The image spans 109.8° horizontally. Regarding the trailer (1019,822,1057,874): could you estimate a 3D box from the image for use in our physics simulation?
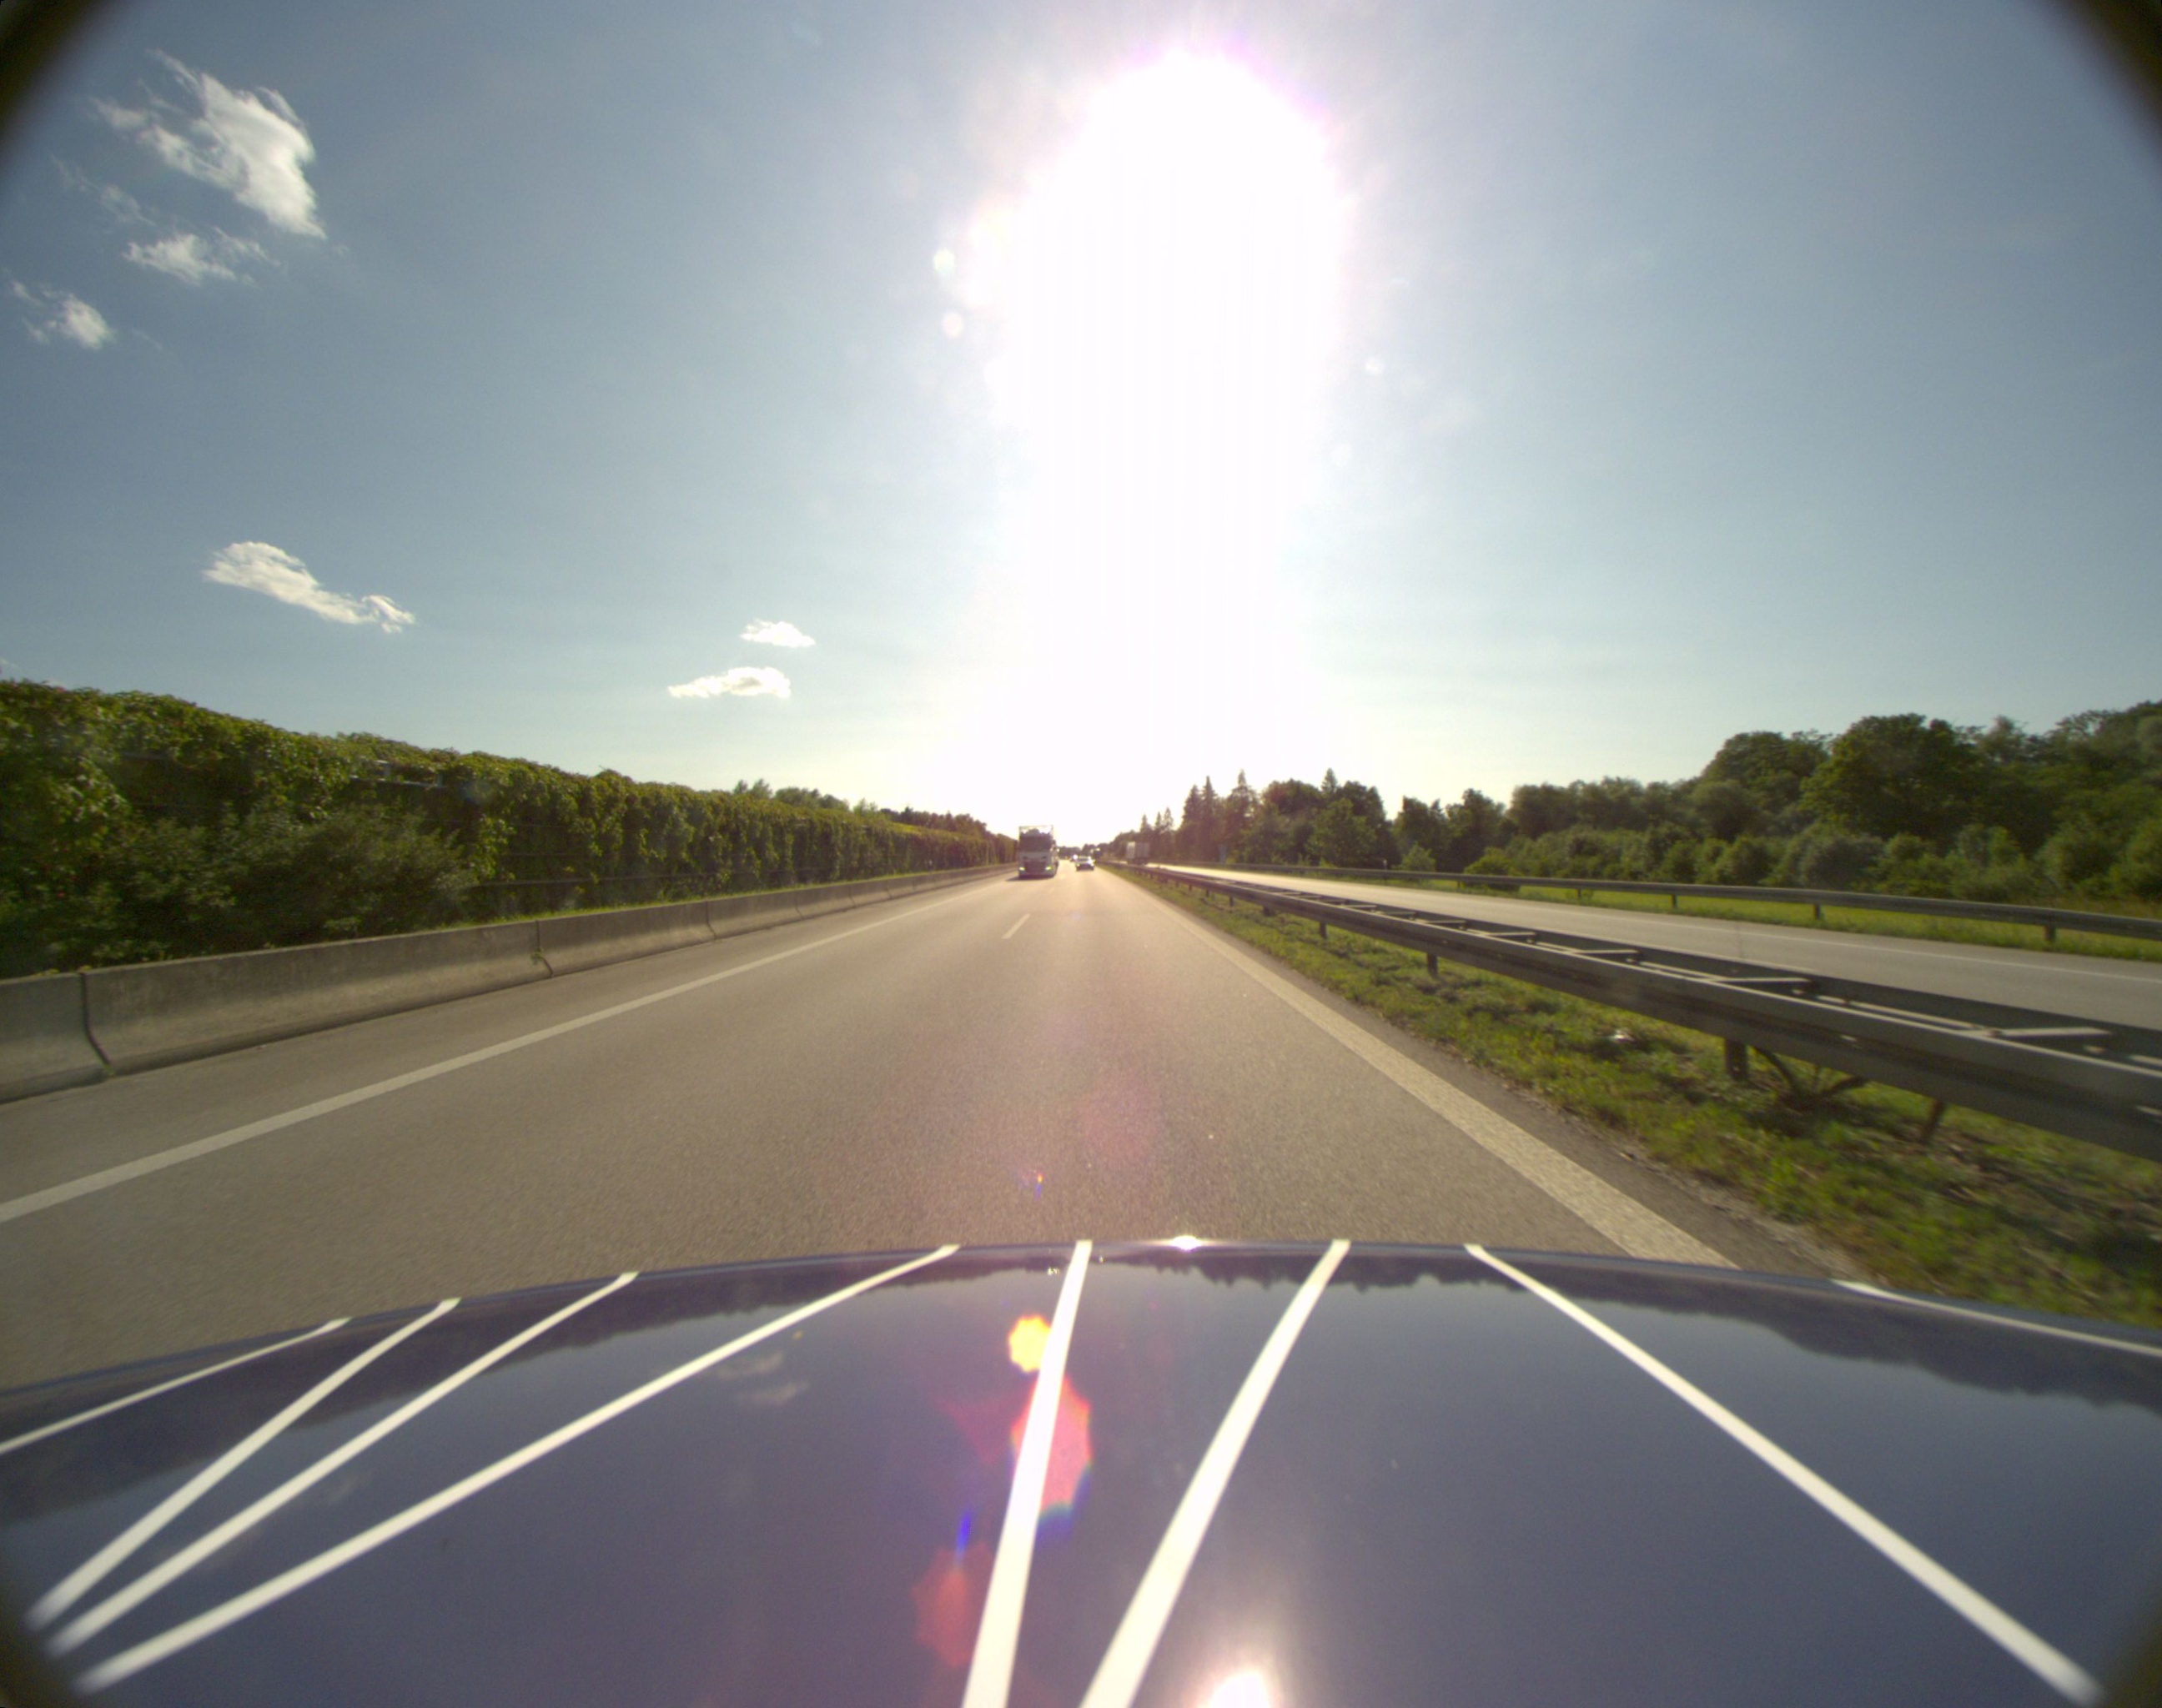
[{"bbox_3d":[-3.469,-0.453,64.962,2.826,3.943,14.157,0,0,-1],"label":"trailer"}]

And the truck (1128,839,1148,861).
[{"bbox_3d":[10.764,-0.749,143.732,3.164,4.077,7.734,1,0,0],"label":"truck"}]

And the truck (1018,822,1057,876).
[{"bbox_3d":[-3.273,-0.359,58.353,2.848,3.943,7.042,0,0,-2],"label":"truck"}]

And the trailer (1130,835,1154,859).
[{"bbox_3d":[10.851,-1.254,136.932,3.159,4.100,13.439,1,0,0],"label":"trailer"}]

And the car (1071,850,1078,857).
[{"bbox_3d":[-1.594,-0.161,182.457,1.742,1.514,3.999,-1,1,-2],"label":"car"}]

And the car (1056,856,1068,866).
[{"bbox_3d":[-3.152,1.183,126.477,1.689,1.487,4.986,6,-1,-2],"label":"car"}]

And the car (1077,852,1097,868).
[{"bbox_3d":[0.584,0.602,78.478,1.871,1.514,4.283,1,0,-1],"label":"car"}]
